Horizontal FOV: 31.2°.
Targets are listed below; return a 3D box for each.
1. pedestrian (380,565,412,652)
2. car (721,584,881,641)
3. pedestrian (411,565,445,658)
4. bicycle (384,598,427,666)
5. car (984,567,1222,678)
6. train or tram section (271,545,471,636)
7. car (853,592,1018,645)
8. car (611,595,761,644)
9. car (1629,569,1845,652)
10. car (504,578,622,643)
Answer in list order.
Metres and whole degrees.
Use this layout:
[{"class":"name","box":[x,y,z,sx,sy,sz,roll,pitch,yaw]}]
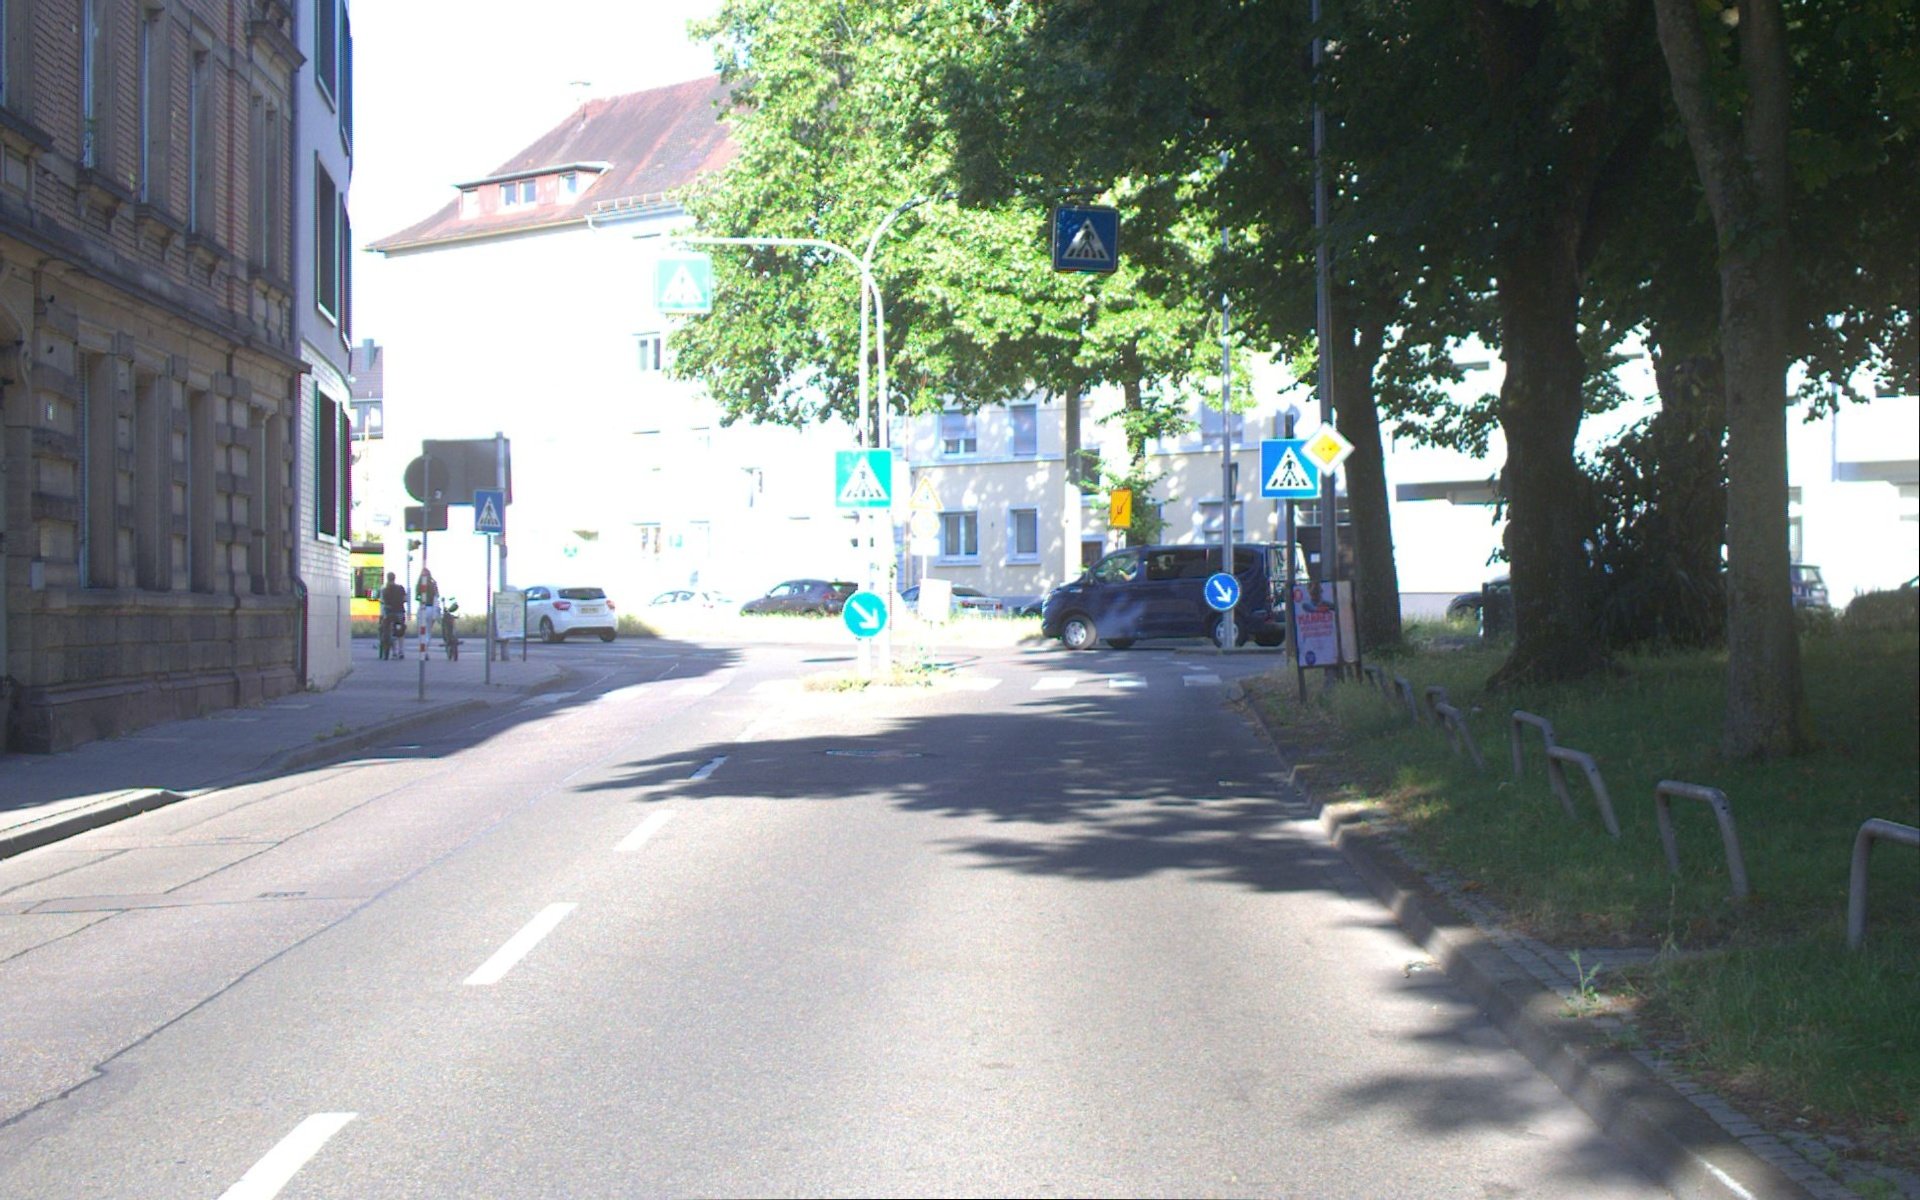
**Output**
[{"class":"pedestrian","box":[-10.146,0.146,61.814,0.474,1.559,0.602,0,0,-19]},{"class":"car","box":[-4.570,0.369,98.456,1.995,1.567,4.638,0,0,-44]},{"class":"pedestrian","box":[-9.570,0.206,61.868,0.474,1.642,0.602,-1,-2,-19]},{"class":"bicycle","box":[-9.895,0.562,61.349,0.440,1.174,1.967,1,0,-18]},{"class":"car","box":[2.692,0.418,64.661,3.992,2.007,1.997,1,0,24]},{"class":"train or tram section","box":[-23.778,-0.348,139.554,2.779,3.543,9.906,0,0,26]},{"class":"car","box":[-0.690,0.492,94.281,1.995,1.382,4.443,0,1,-44]},{"class":"car","box":[-8.172,0.577,102.288,4.443,1.382,1.995,1,1,43]},{"class":"car","box":[17.014,0.206,75.372,1.995,1.743,4.207,0,1,-44]},{"class":"car","box":[-9.642,0.239,83.288,1.958,1.500,3.686,-1,0,-22]}]
